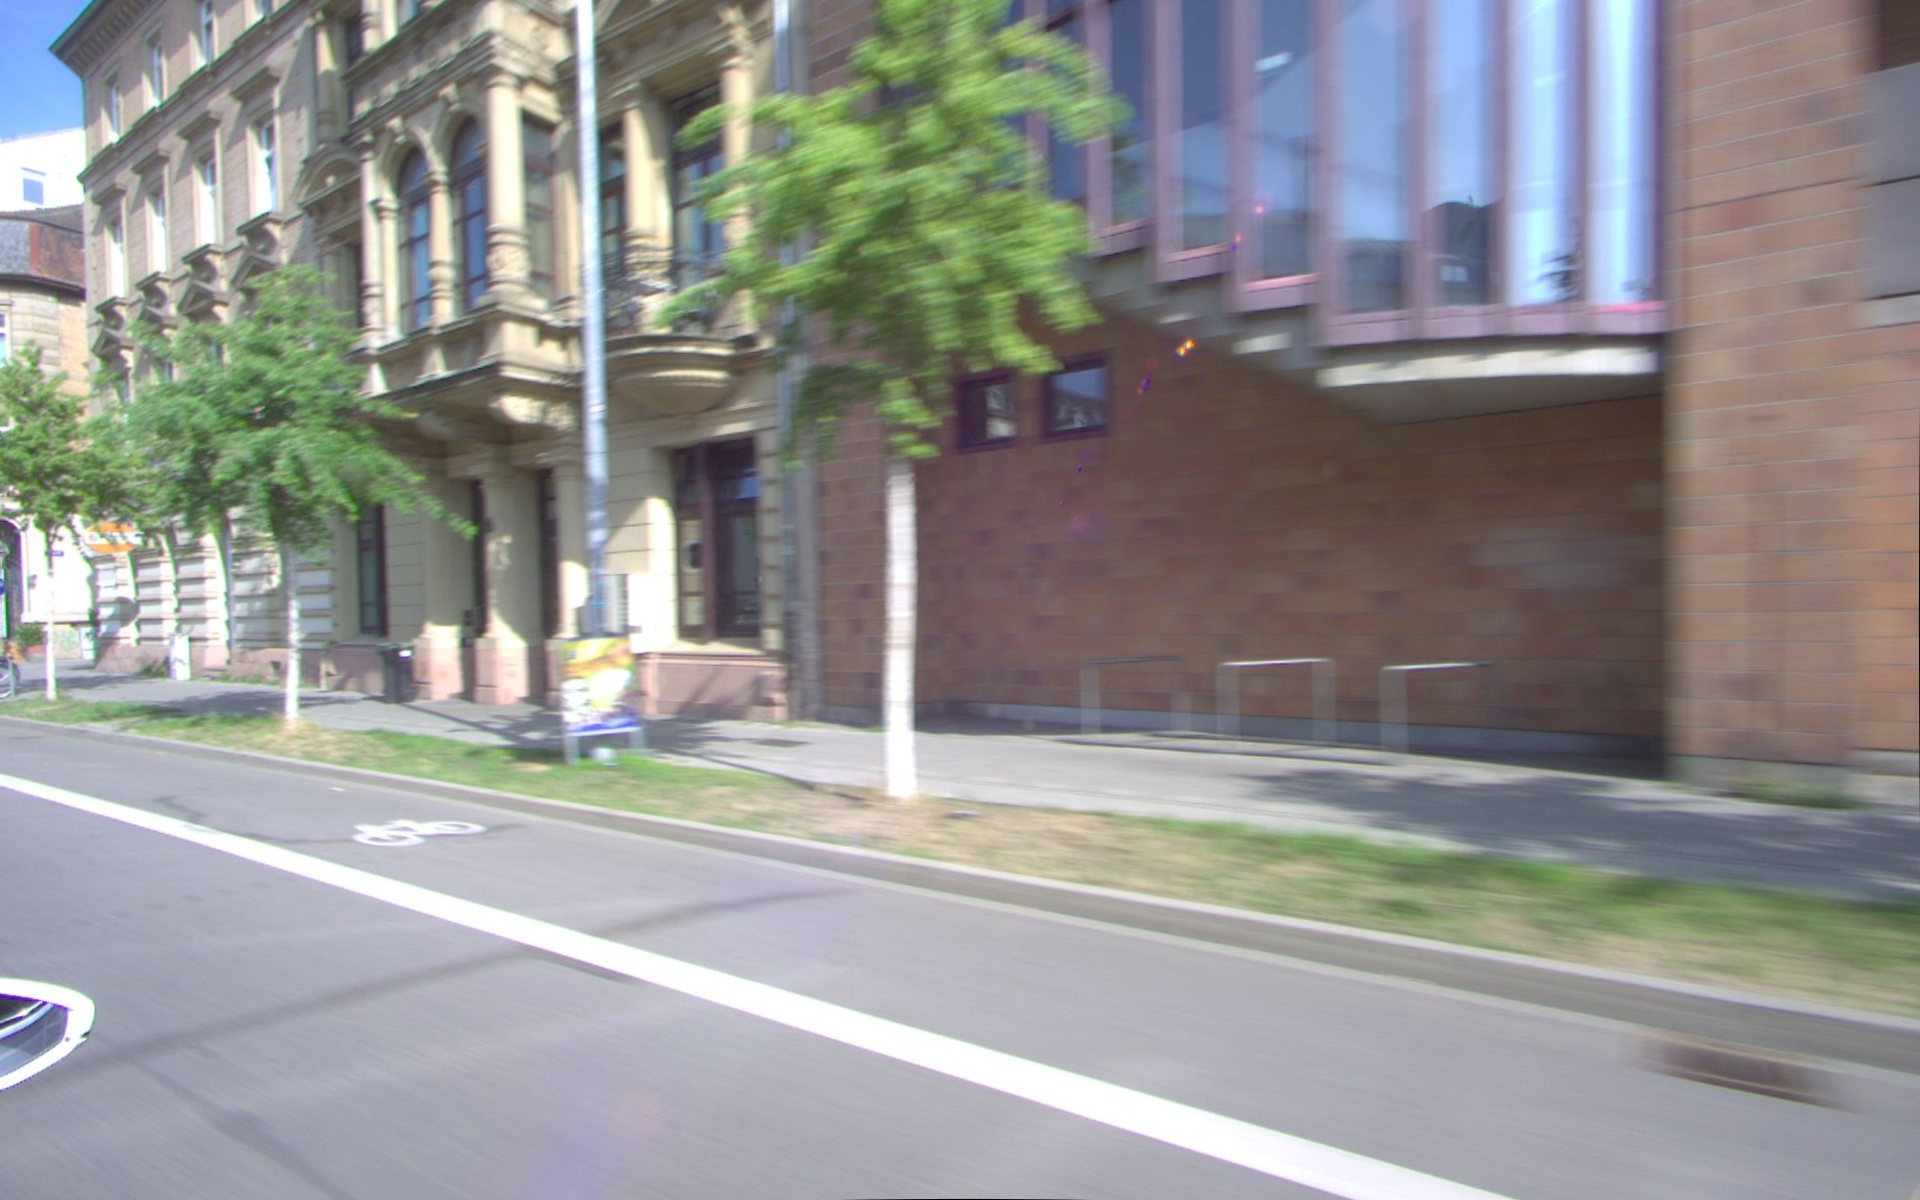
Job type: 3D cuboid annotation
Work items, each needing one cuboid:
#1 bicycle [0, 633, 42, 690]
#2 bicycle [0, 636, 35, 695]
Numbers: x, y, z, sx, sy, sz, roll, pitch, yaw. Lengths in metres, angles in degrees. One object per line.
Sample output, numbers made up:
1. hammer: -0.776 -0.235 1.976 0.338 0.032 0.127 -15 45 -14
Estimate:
1. bicycle: -20.220 1.320 20.619 0.647 1.103 1.754 -1 3 25
2. bicycle: -19.201 1.331 19.363 0.601 1.103 1.754 -1 3 25
